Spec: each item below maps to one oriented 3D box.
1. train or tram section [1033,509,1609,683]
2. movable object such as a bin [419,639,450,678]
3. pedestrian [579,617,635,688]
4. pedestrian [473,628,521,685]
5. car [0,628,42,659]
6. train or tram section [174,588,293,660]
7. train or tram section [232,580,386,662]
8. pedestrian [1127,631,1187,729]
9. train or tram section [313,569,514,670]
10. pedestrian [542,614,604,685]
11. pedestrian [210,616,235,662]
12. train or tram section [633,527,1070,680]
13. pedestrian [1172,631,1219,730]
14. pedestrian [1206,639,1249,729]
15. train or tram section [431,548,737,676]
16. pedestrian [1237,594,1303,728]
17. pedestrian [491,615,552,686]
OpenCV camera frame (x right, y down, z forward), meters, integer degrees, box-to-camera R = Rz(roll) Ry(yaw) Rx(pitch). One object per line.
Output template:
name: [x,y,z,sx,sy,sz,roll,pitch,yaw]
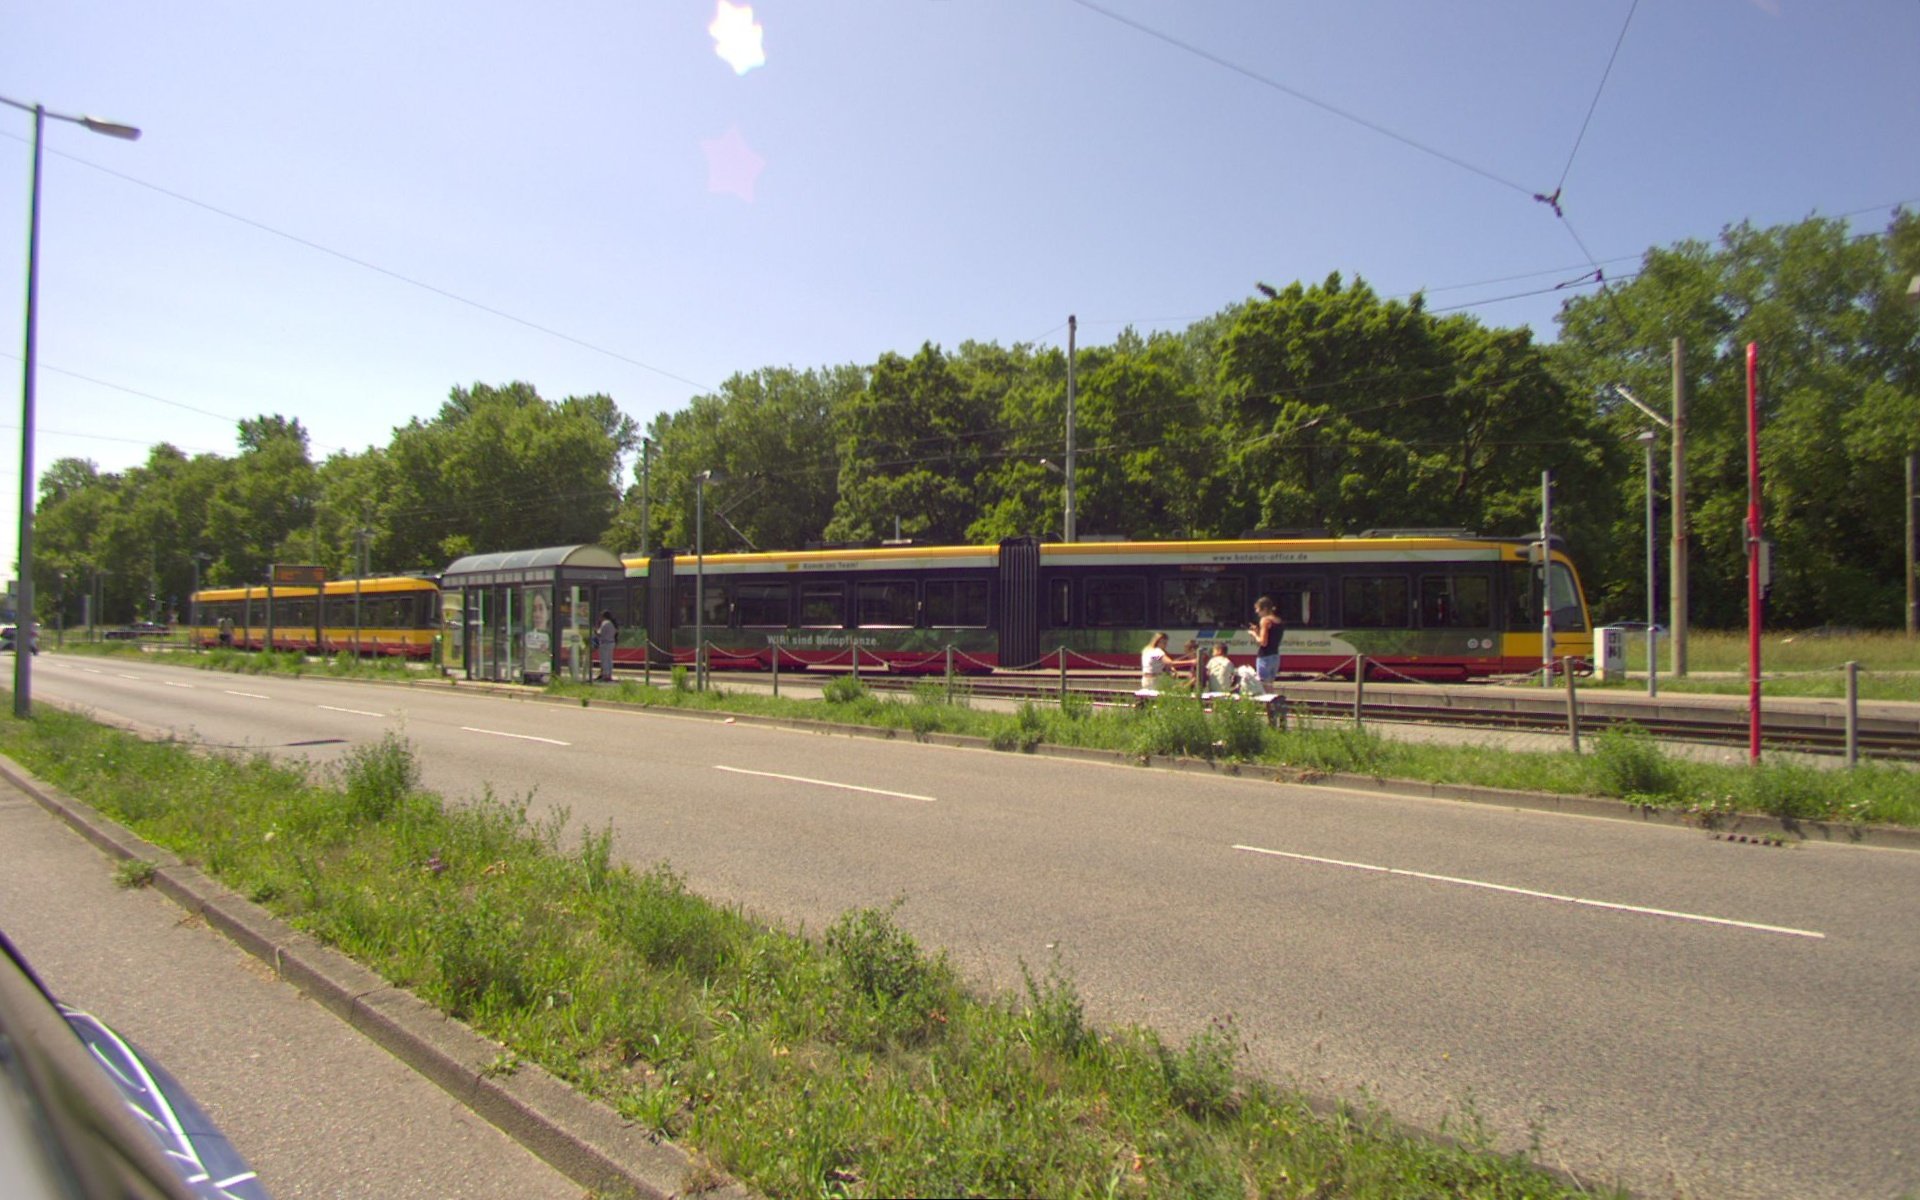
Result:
train or tram section: [8.112,0.028,24.469,12.326,3.652,3.041,-1,0,13]
movable object such as a bin: [-13.756,1.518,26.502,0.644,0.985,0.477,-1,-2,36]
pedestrian: [-7.856,1.148,22.536,0.878,1.519,0.826,-2,-1,38]
pedestrian: [-10.772,1.304,23.568,0.839,1.293,0.694,-2,-1,38]
car: [-48.638,2.227,51.894,3.715,1.516,1.752,-1,-2,39]
train or tram section: [-42.792,1.426,59.405,11.531,3.884,2.920,-2,-1,40]
train or tram section: [-33.498,1.082,51.739,12.585,3.770,3.013,-2,-1,40]
pedestrian: [2.529,1.004,12.975,0.535,1.198,0.575,-2,-1,35]
train or tram section: [-23.708,0.852,43.331,13.252,3.795,3.012,-2,-1,41]
pedestrian: [-8.752,1.103,22.900,0.984,1.558,0.922,-2,-1,38]
pedestrian: [-29.421,1.547,40.366,0.775,1.804,0.626,-2,-1,38]
train or tram section: [-3.327,0.210,28.253,12.383,3.652,3.027,-2,0,26]
pedestrian: [2.961,0.992,12.730,0.399,1.198,0.490,-2,-1,34]
pedestrian: [3.311,1.028,12.540,0.377,1.066,0.379,-2,-1,38]
train or tram section: [-13.297,0.479,34.523,13.879,3.652,3.014,-2,-1,38]
pedestrian: [3.771,0.722,12.308,0.582,1.577,0.529,-2,-1,39]
pedestrian: [-9.975,1.139,23.033,1.024,1.558,0.865,-2,-1,38]
